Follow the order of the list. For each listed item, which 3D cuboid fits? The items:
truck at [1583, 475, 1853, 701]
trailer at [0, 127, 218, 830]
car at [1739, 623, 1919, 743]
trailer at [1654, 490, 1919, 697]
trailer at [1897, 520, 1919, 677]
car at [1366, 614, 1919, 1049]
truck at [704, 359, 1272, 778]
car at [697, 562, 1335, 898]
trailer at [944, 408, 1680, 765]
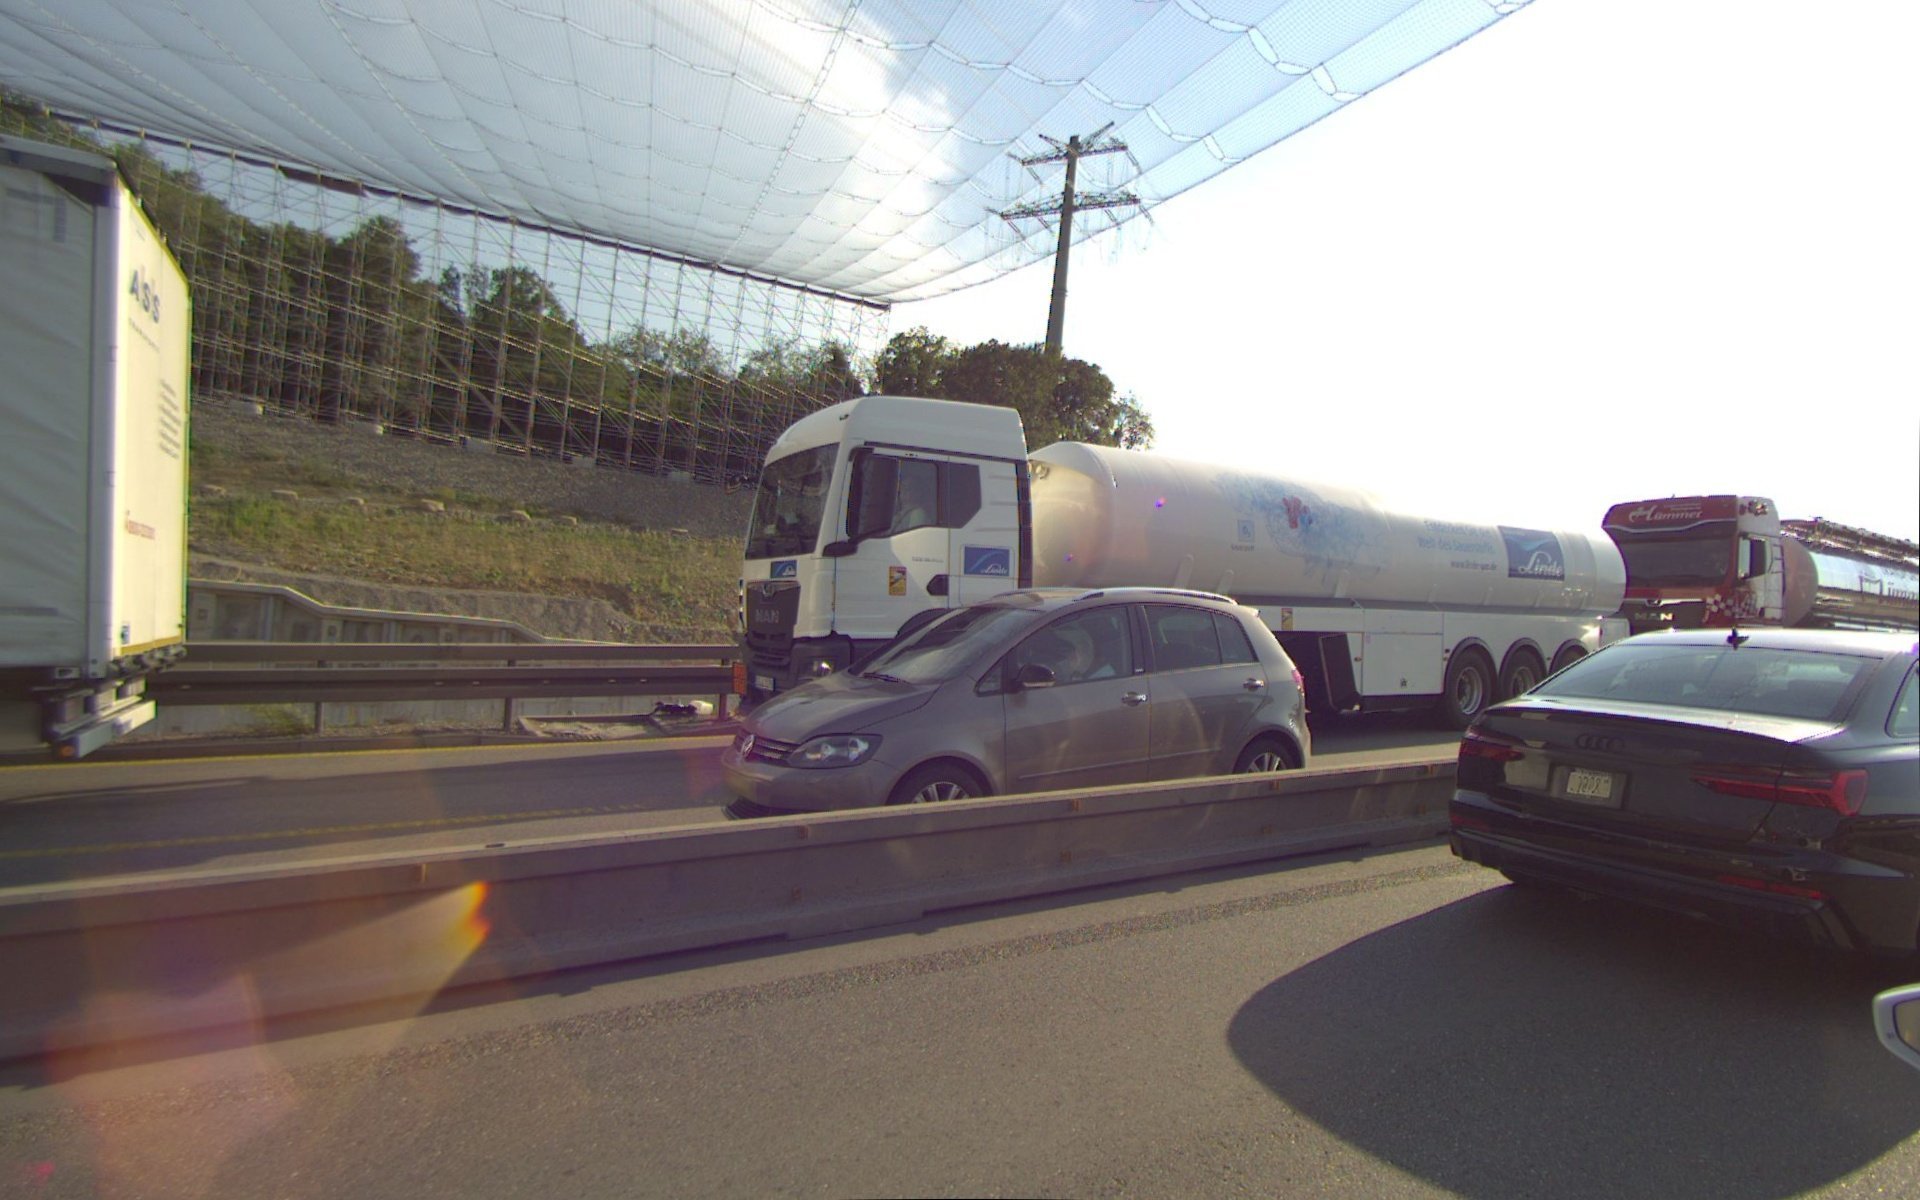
[{"bbox_3d":[14.814,-0.126,19.544,5.558,3.835,2.418,2,0,-33],"label":"truck"},{"bbox_3d":[-11.478,-0.905,3.544,13.937,4.015,2.415,2,0,-31],"label":"trailer"},{"bbox_3d":[12.984,1.121,14.372,4.342,1.445,1.617,2,0,-34],"label":"car"},{"bbox_3d":[19.941,0.060,22.817,11.919,3.840,2.294,2,0,-32],"label":"trailer"},{"bbox_3d":[31.568,0.126,30.289,10.401,4.386,2.461,2,0,-34],"label":"trailer"},{"bbox_3d":[4.646,0.853,5.479,4.903,1.417,1.925,2,0,-31],"label":"car"},{"bbox_3d":[0.409,-0.176,10.660,5.553,3.415,2.402,2,0,-31],"label":"truck"},{"bbox_3d":[0.472,0.678,6.606,3.900,1.608,1.741,2,0,-33],"label":"car"},{"bbox_3d":[5.543,0.055,13.641,11.914,3.406,2.295,2,0,-31],"label":"trailer"}]
